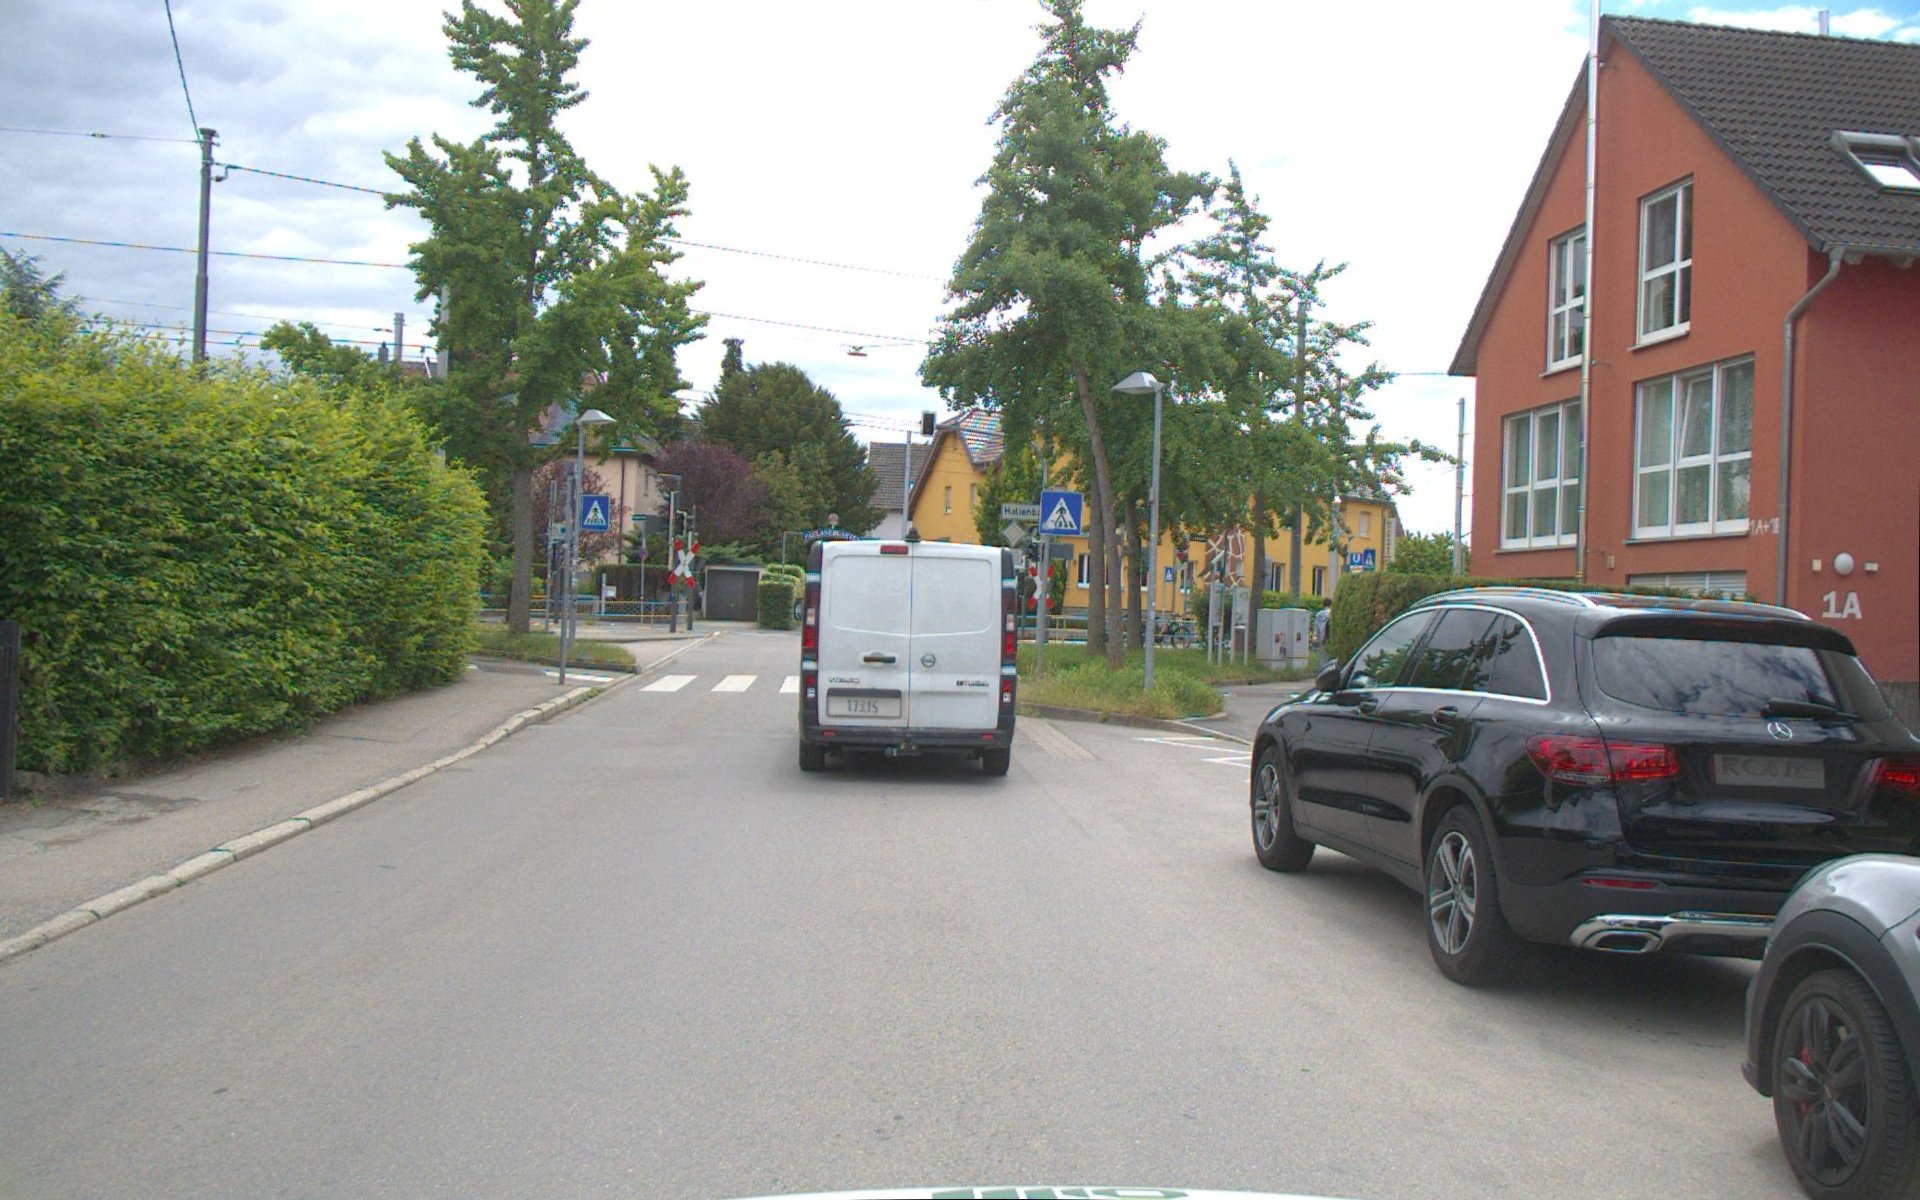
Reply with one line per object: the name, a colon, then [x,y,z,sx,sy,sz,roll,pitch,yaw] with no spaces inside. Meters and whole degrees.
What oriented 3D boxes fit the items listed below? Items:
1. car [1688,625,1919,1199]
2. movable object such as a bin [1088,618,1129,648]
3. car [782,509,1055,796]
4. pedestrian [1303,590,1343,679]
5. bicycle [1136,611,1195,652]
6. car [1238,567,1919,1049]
car: [3.238,0.868,3.223,1.673,1.477,3.831,3,0,-4]
movable object such as a bin: [4.446,0.987,49.549,1.070,0.839,0.578,3,-1,-8]
car: [-0.570,0.414,15.823,2.076,2.171,5.434,3,0,-5]
pedestrian: [8.130,0.761,37.033,0.612,1.948,0.829,1,0,32]
bicycle: [6.179,0.939,49.764,1.657,1.176,0.465,2,-1,-12]
car: [2.878,0.759,8.155,1.811,1.665,4.461,3,0,-5]
